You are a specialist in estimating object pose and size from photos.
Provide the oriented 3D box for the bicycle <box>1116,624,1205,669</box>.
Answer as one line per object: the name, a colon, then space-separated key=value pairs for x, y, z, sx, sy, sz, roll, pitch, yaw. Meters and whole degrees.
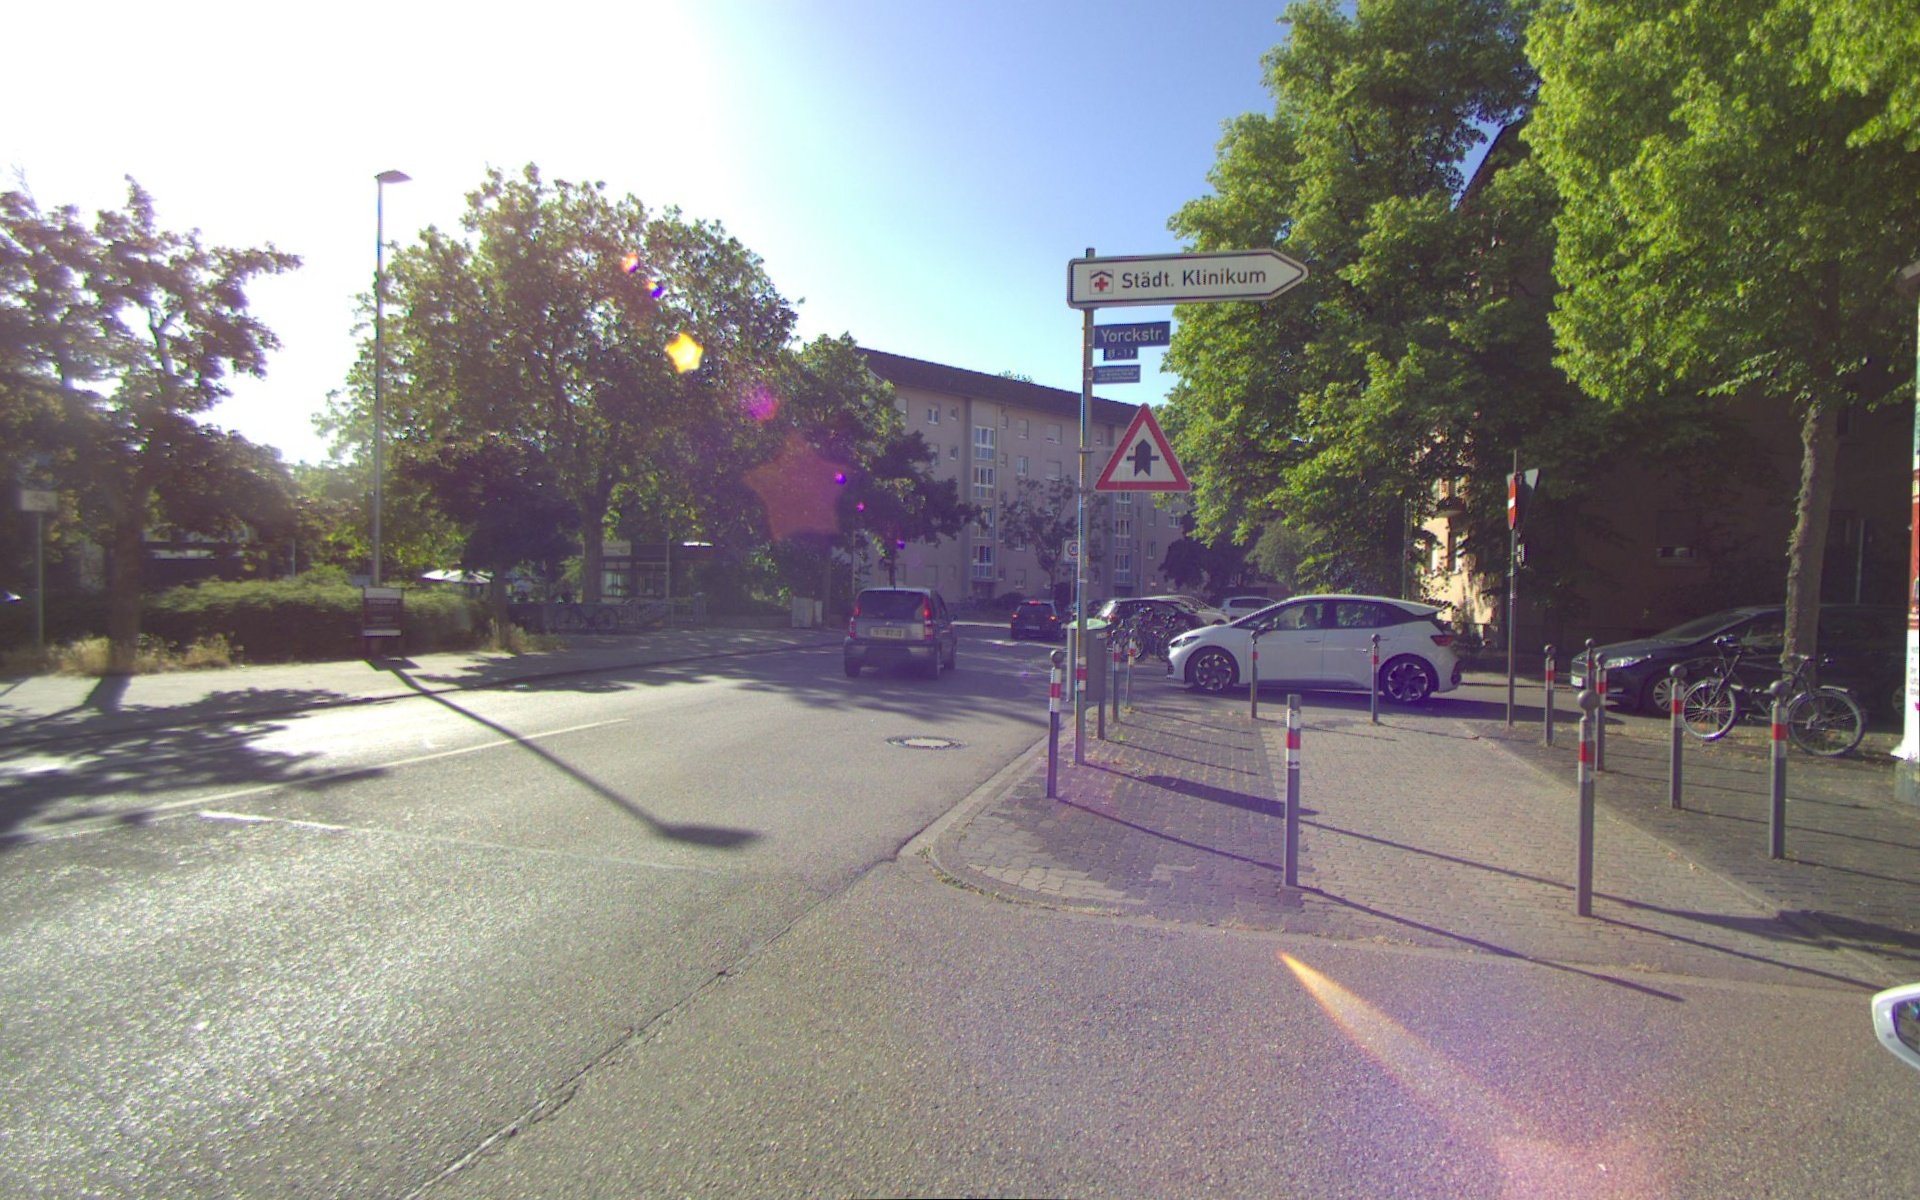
bicycle: x=4.695 y=1.084 z=23.614 sx=1.993 sy=1.045 sz=0.571 roll=0 pitch=0 yaw=6

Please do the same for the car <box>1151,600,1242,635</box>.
car: x=10.352 y=0.759 z=44.074 sx=3.528 sy=1.501 sz=1.618 roll=0 pitch=0 yaw=-10

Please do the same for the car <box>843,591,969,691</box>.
car: x=-0.853 y=0.655 z=17.588 sx=1.588 sy=1.582 sz=3.259 roll=0 pitch=0 yaw=8

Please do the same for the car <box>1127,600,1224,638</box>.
car: x=8.803 y=0.775 z=41.129 sx=3.528 sy=1.501 sz=1.618 roll=0 pitch=0 yaw=-10

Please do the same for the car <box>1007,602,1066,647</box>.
car: x=2.809 y=0.847 z=36.274 sx=1.650 sy=1.528 sz=3.760 roll=1 pitch=0 yaw=12

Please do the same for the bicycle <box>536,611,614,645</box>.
bicycle: x=-11.757 y=0.834 z=30.657 sx=2.266 sy=0.995 sz=0.557 roll=1 pitch=0 yaw=11

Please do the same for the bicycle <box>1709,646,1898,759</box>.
bicycle: x=8.610 y=1.037 z=10.280 sx=1.560 sy=1.086 sz=0.354 roll=1 pitch=0 yaw=4

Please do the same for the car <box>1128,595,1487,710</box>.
car: x=5.257 y=0.715 z=15.572 sx=4.939 sy=1.539 sz=1.923 roll=1 pitch=0 yaw=21

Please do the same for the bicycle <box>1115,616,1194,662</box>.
bicycle: x=5.119 y=1.016 z=26.532 sx=1.993 sy=1.192 sz=0.668 roll=0 pitch=0 yaw=6

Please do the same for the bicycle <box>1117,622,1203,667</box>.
bicycle: x=4.805 y=1.067 z=24.168 sx=1.993 sy=1.045 sz=0.469 roll=0 pitch=0 yaw=6

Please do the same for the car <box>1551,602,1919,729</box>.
car: x=10.751 y=0.822 z=13.755 sx=4.214 sy=1.539 sz=1.910 roll=1 pitch=0 yaw=15

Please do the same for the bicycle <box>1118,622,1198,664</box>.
bicycle: x=5.075 y=1.095 z=25.844 sx=1.993 sy=1.045 sz=0.448 roll=0 pitch=0 yaw=6

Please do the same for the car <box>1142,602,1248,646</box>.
car: x=8.122 y=0.826 z=34.857 sx=3.199 sy=1.501 sz=1.618 roll=0 pitch=0 yaw=-10

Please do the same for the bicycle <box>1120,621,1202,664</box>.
bicycle: x=5.045 y=1.067 z=25.246 sx=1.993 sy=1.045 sz=0.448 roll=0 pitch=0 yaw=6

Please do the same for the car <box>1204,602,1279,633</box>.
car: x=14.204 y=0.854 z=50.659 sx=3.522 sy=1.501 sz=1.621 roll=0 pitch=0 yaw=21

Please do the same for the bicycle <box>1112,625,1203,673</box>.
bicycle: x=4.492 y=1.110 z=22.925 sx=1.993 sy=1.045 sz=0.571 roll=0 pitch=0 yaw=6

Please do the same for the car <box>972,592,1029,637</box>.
car: x=1.999 y=0.673 z=48.047 sx=2.120 sy=2.040 sz=4.429 roll=1 pitch=0 yaw=11

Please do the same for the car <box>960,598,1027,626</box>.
car: x=2.165 y=0.771 z=65.974 sx=2.051 sy=1.822 sz=4.376 roll=1 pitch=0 yaw=-39

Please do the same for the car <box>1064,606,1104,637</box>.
car: x=6.451 y=1.088 z=52.003 sx=1.650 sy=1.528 sz=3.598 roll=1 pitch=0 yaw=14

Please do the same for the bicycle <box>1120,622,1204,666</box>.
bicycle: x=4.943 y=1.072 z=24.650 sx=1.993 sy=1.045 sz=0.448 roll=0 pitch=0 yaw=6
